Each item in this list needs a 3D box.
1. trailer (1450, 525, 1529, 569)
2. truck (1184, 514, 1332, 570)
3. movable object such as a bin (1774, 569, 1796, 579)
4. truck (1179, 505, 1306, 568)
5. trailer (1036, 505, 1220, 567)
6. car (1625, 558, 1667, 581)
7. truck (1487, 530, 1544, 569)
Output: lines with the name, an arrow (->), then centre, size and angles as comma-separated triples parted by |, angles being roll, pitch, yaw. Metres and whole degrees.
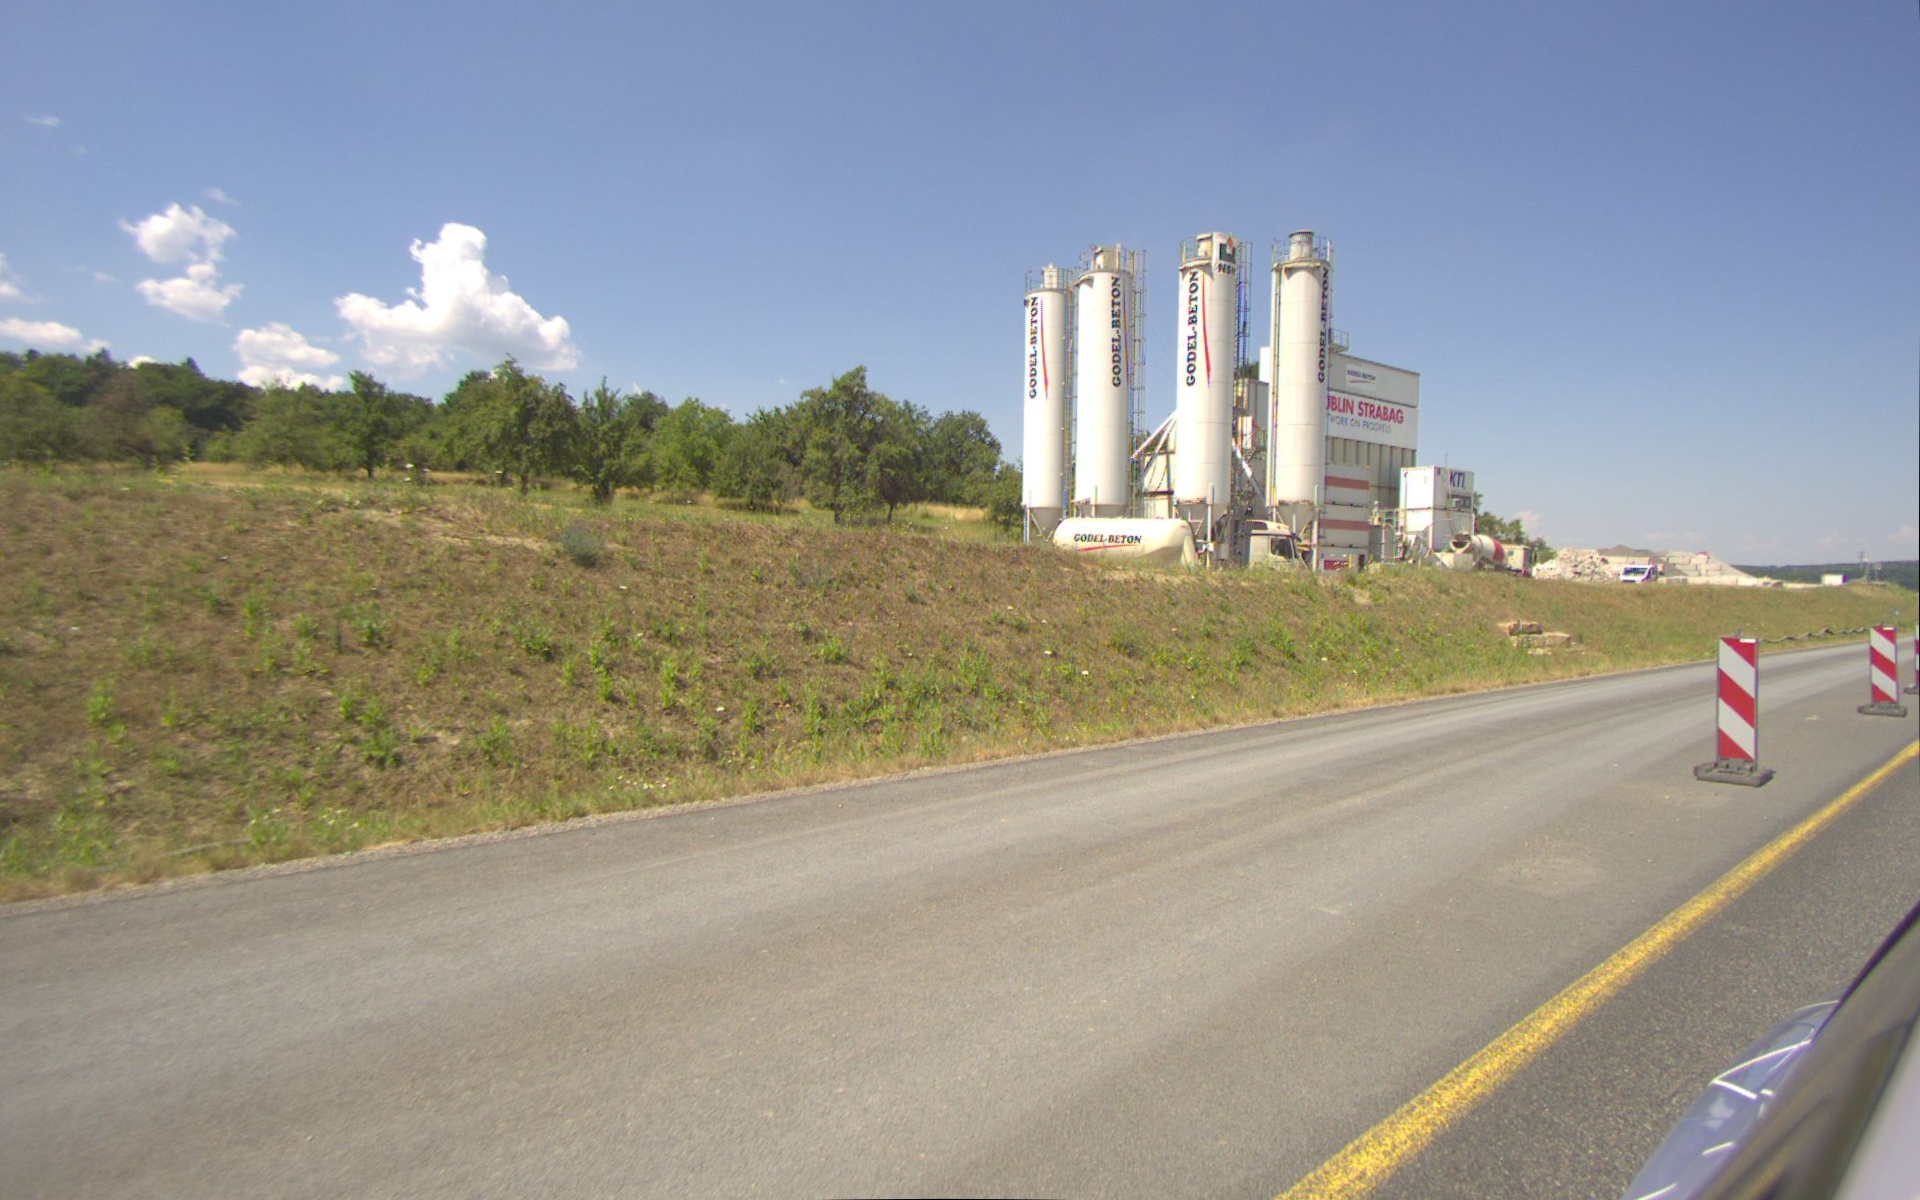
trailer -> 35.492, -3.491, 67.743 | 6.809, 2.677, 1.999 | 0, 0, -38
truck -> 17.690, -3.368, 60.897 | 2.412, 2.904, 9.103 | 0, 0, -34
movable object such as a bin -> 58.561, -1.843, 71.839 | 2.210, 0.690, 0.837 | -1, 0, -41
truck -> 12.369, -2.748, 44.749 | 5.228, 2.576, 2.893 | 0, 0, 13
trailer -> 7.717, -2.899, 47.772 | 2.423, 2.639, 8.903 | 0, 1, -43
car -> 55.336, -2.406, 81.644 | 3.539, 1.785, 1.989 | 0, 0, -41
truck -> 38.458, -3.456, 70.045 | 3.966, 2.577, 2.022 | 0, 0, -38
